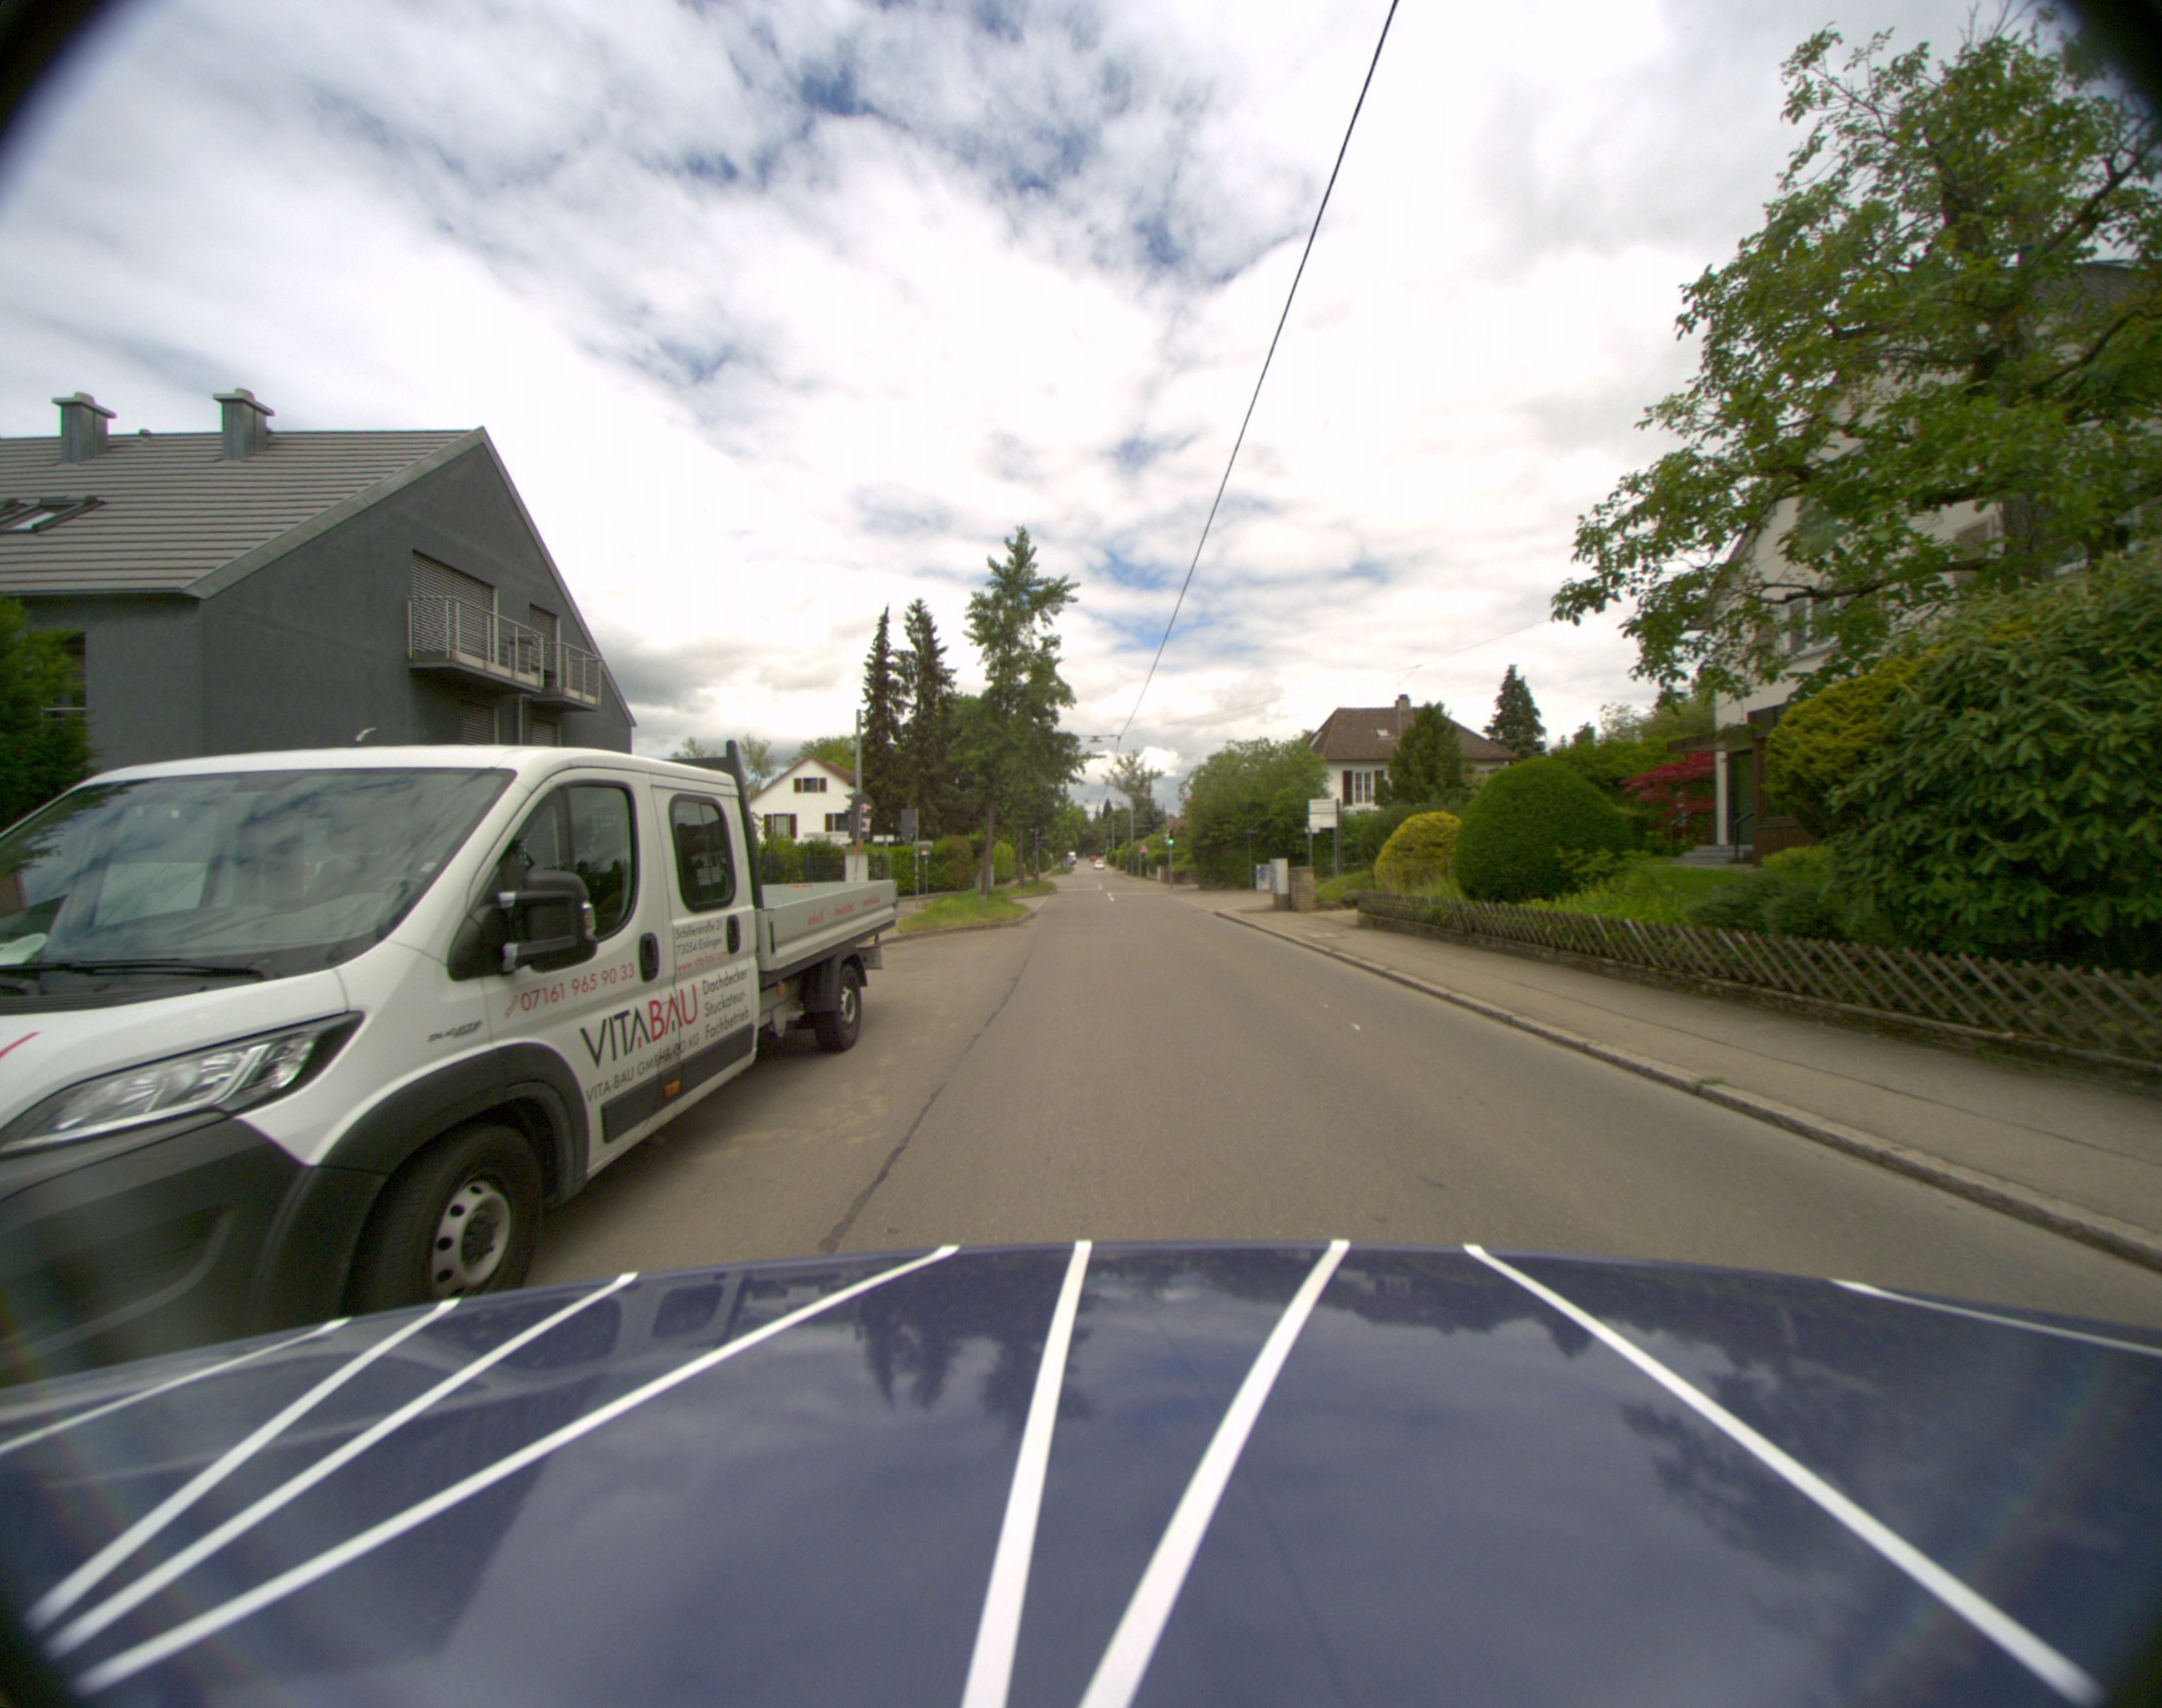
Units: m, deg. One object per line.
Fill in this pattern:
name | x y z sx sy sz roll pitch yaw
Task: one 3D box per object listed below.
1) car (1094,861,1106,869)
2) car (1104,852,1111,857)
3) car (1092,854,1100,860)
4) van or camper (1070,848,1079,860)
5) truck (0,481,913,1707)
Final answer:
car | 3.348 1.998 135.899 1.859 1.443 4.281 1 0 -1
car | 7.850 0.111 225.042 1.810 1.423 4.300 0 0 0
car | 3.869 0.723 192.061 1.810 1.423 4.118 2 0 -1
van or camper | -1.525 -0.058 176.992 2.047 2.605 7.036 -2 1 -1
truck | -3.030 0.579 4.689 2.193 2.457 7.430 -2 0 0
